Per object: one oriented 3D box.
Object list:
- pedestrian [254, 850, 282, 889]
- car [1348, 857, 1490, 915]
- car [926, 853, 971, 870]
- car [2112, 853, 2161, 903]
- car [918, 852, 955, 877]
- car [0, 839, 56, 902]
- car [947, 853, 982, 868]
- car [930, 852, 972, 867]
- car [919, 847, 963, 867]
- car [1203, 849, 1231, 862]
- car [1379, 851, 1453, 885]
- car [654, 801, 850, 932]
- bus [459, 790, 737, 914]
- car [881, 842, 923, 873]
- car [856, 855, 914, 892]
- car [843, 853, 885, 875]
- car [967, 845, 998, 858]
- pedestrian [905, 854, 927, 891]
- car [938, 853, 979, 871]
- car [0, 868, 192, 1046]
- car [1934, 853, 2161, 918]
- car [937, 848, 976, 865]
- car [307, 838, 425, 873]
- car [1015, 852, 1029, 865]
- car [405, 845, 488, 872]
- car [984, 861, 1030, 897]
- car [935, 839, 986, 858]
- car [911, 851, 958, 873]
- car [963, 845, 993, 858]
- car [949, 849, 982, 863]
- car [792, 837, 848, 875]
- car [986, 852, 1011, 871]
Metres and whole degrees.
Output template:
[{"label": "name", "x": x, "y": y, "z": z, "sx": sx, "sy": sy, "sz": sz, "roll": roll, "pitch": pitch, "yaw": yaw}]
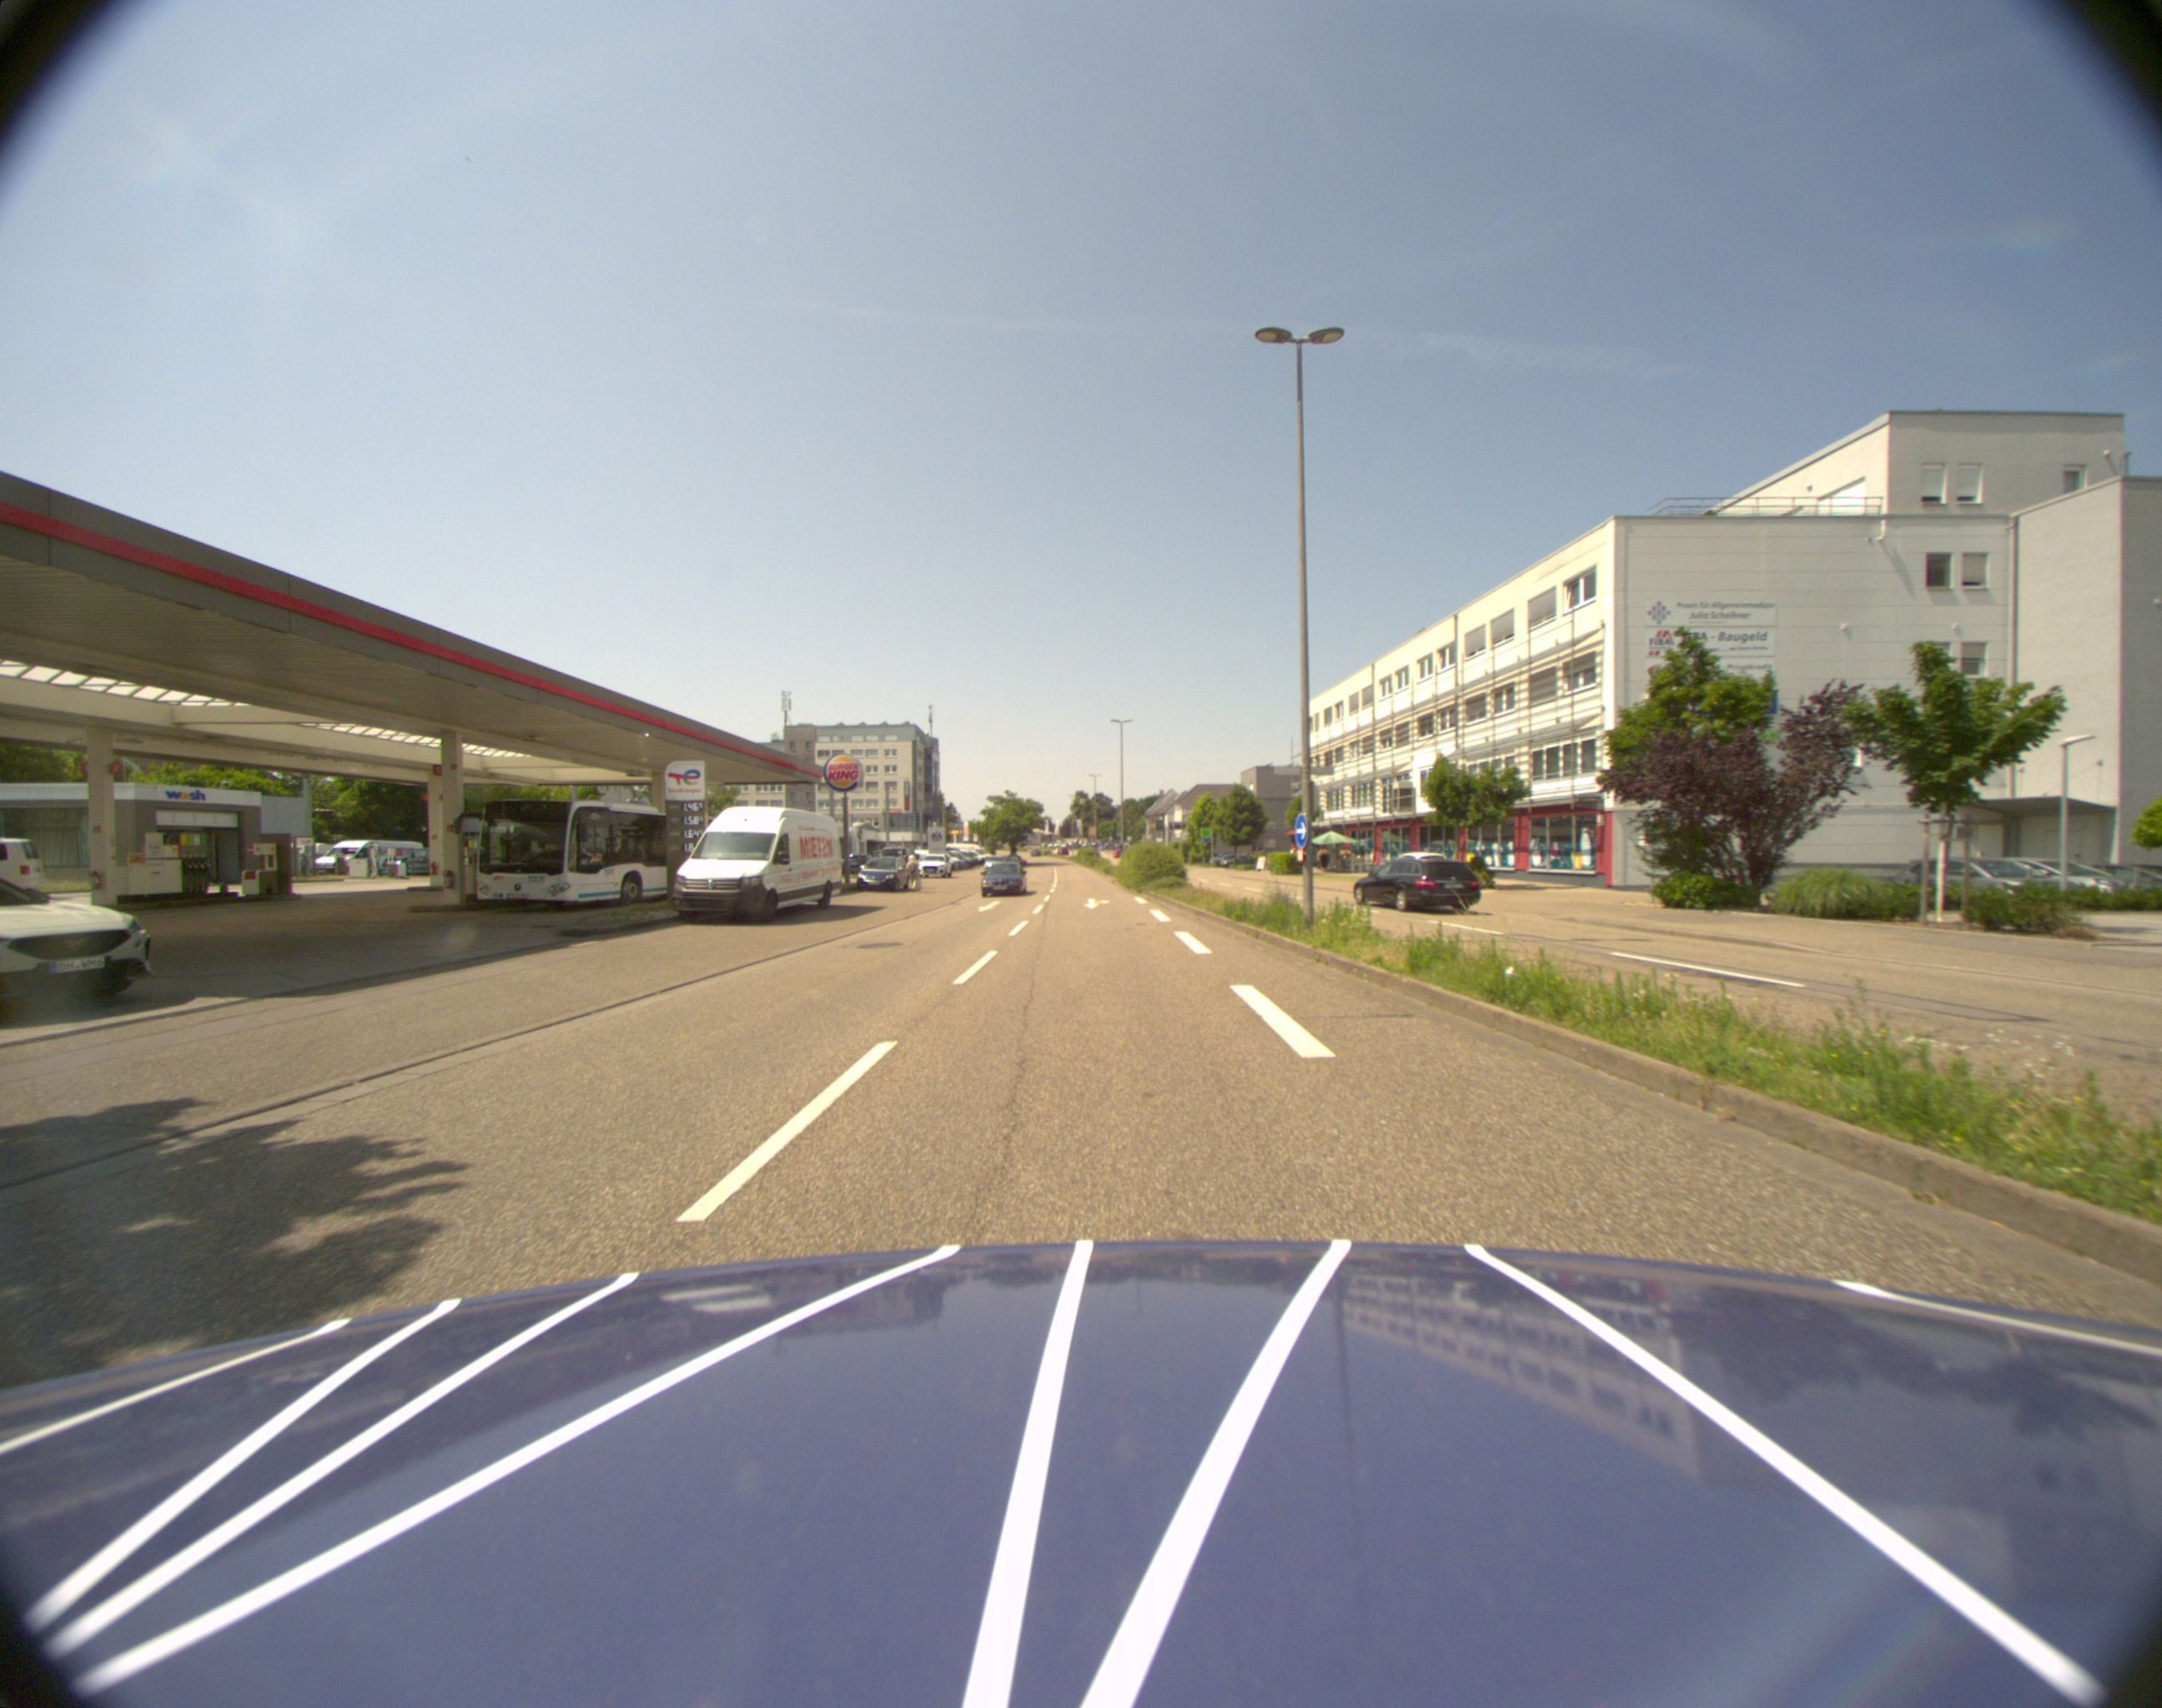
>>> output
[{"label": "pedestrian", "x": -33.038, "y": 0.629, "z": 30.870, "sx": 0.571, "sy": 1.572, "sz": 0.493, "roll": 0, "pitch": 1, "yaw": 3}, {"label": "car", "x": 9.606, "y": 0.845, "z": 22.080, "sx": 1.833, "sy": 1.452, "sz": 4.710, "roll": 0, "pitch": 0, "yaw": -3}, {"label": "car", "x": -12.204, "y": 0.692, "z": 70.088, "sx": 3.999, "sy": 1.568, "sz": 1.724, "roll": 0, "pitch": 1, "yaw": -7}, {"label": "car", "x": 30.409, "y": 0.656, "z": 19.795, "sx": 1.925, "sy": 1.376, "sz": 3.833, "roll": 0, "pitch": 0, "yaw": 1}, {"label": "car", "x": -9.772, "y": 0.678, "z": 51.732, "sx": 1.860, "sy": 1.572, "sz": 3.999, "roll": 1, "pitch": 0, "yaw": -2}, {"label": "car", "x": -35.624, "y": 0.539, "z": 23.596, "sx": 4.235, "sy": 1.981, "sz": 1.712, "roll": -1, "pitch": 1, "yaw": -42}, {"label": "car", "x": -13.530, "y": 0.734, "z": 88.454, "sx": 3.999, "sy": 1.755, "sz": 1.724, "roll": 0, "pitch": 1, "yaw": -7}, {"label": "car", "x": -12.901, "y": 0.499, "z": 75.418, "sx": 3.999, "sy": 1.440, "sz": 1.724, "roll": 0, "pitch": 1, "yaw": -7}, {"label": "car", "x": -13.395, "y": 0.291, "z": 72.690, "sx": 3.999, "sy": 1.906, "sz": 1.724, "roll": 0, "pitch": 1, "yaw": -7}, {"label": "car", "x": 14.898, "y": 0.206, "z": 83.182, "sx": 2.737, "sy": 1.404, "sz": 1.445, "roll": 0, "pitch": 1, "yaw": -1}, {"label": "car", "x": 15.641, "y": 0.612, "z": 35.696, "sx": 1.696, "sy": 1.440, "sz": 3.664, "roll": -2, "pitch": 1, "yaw": -3}, {"label": "car", "x": -8.160, "y": 0.243, "z": 19.932, "sx": 2.183, "sy": 2.758, "sz": 7.275, "roll": 2, "pitch": 0, "yaw": -2}, {"label": "bus", "x": -14.272, "y": -0.093, "z": 23.756, "sx": 2.756, "sy": 3.134, "sz": 9.078, "roll": 0, "pitch": 1, "yaw": 1}, {"label": "car", "x": -12.118, "y": 0.220, "z": 51.632, "sx": 1.999, "sy": 2.002, "sz": 3.999, "roll": 0, "pitch": 1, "yaw": -2}, {"label": "car", "x": -8.611, "y": 0.825, "z": 33.693, "sx": 1.681, "sy": 1.440, "sz": 3.839, "roll": 2, "pitch": 0, "yaw": -3}, {"label": "car", "x": -14.474, "y": 0.642, "z": 50.908, "sx": 1.808, "sy": 1.368, "sz": 3.999, "roll": 0, "pitch": 1, "yaw": -2}, {"label": "car", "x": -12.847, "y": -0.343, "z": 99.742, "sx": 3.999, "sy": 1.755, "sz": 1.724, "roll": 0, "pitch": 1, "yaw": -7}, {"label": "pedestrian", "x": -7.211, "y": 0.813, "z": 33.240, "sx": 0.704, "sy": 1.572, "sz": 0.820, "roll": 2, "pitch": 1, "yaw": 0}, {"label": "car", "x": -12.597, "y": 0.835, "z": 78.298, "sx": 3.999, "sy": 1.838, "sz": 1.724, "roll": 0, "pitch": 1, "yaw": -7}, {"label": "car", "x": -12.087, "y": 0.914, "z": 7.394, "sx": 4.633, "sy": 1.518, "sz": 1.907, "roll": 2, "pitch": 1, "yaw": 0}, {"label": "car", "x": 25.164, "y": 0.753, "z": 19.959, "sx": 1.557, "sy": 1.510, "sz": 3.556, "roll": 0, "pitch": 1, "yaw": 1}, {"label": "car", "x": -13.154, "y": 0.210, "z": 80.386, "sx": 3.999, "sy": 1.776, "sz": 1.724, "roll": 0, "pitch": 1, "yaw": -7}, {"label": "car", "x": -47.442, "y": 0.070, "z": 50.676, "sx": 1.999, "sy": 2.224, "sz": 6.382, "roll": 0, "pitch": 0, "yaw": -3}, {"label": "car", "x": -6.809, "y": 0.518, "z": 87.957, "sx": 1.562, "sy": 1.390, "sz": 4.214, "roll": 0, "pitch": 1, "yaw": -2}, {"label": "car", "x": -41.974, "y": 0.278, "z": 50.409, "sx": 1.979, "sy": 1.748, "sz": 4.205, "roll": 0, "pitch": 1, "yaw": -1}, {"label": "car", "x": -3.076, "y": 1.016, "z": 32.084, "sx": 1.632, "sy": 1.331, "sz": 3.755, "roll": -2, "pitch": 0, "yaw": -2}, {"label": "car", "x": -17.219, "y": -0.771, "z": 108.544, "sx": 6.882, "sy": 2.589, "sz": 1.725, "roll": 0, "pitch": 1, "yaw": 5}, {"label": "car", "x": -12.939, "y": 0.656, "z": 67.212, "sx": 3.999, "sy": 1.907, "sz": 1.724, "roll": 0, "pitch": 1, "yaw": -7}, {"label": "car", "x": -14.305, "y": -0.368, "z": 105.554, "sx": 3.999, "sy": 1.755, "sz": 1.724, "roll": 0, "pitch": 1, "yaw": -7}, {"label": "car", "x": -14.220, "y": 0.237, "z": 93.744, "sx": 3.999, "sy": 1.755, "sz": 1.724, "roll": 0, "pitch": 1, "yaw": -7}, {"label": "car", "x": -17.439, "y": 0.077, "z": 51.072, "sx": 2.058, "sy": 2.421, "sz": 5.573, "roll": 0, "pitch": 1, "yaw": -3}, {"label": "car", "x": -7.014, "y": 0.598, "z": 65.276, "sx": 1.867, "sy": 1.550, "sz": 3.999, "roll": 0, "pitch": 1, "yaw": -2}]
